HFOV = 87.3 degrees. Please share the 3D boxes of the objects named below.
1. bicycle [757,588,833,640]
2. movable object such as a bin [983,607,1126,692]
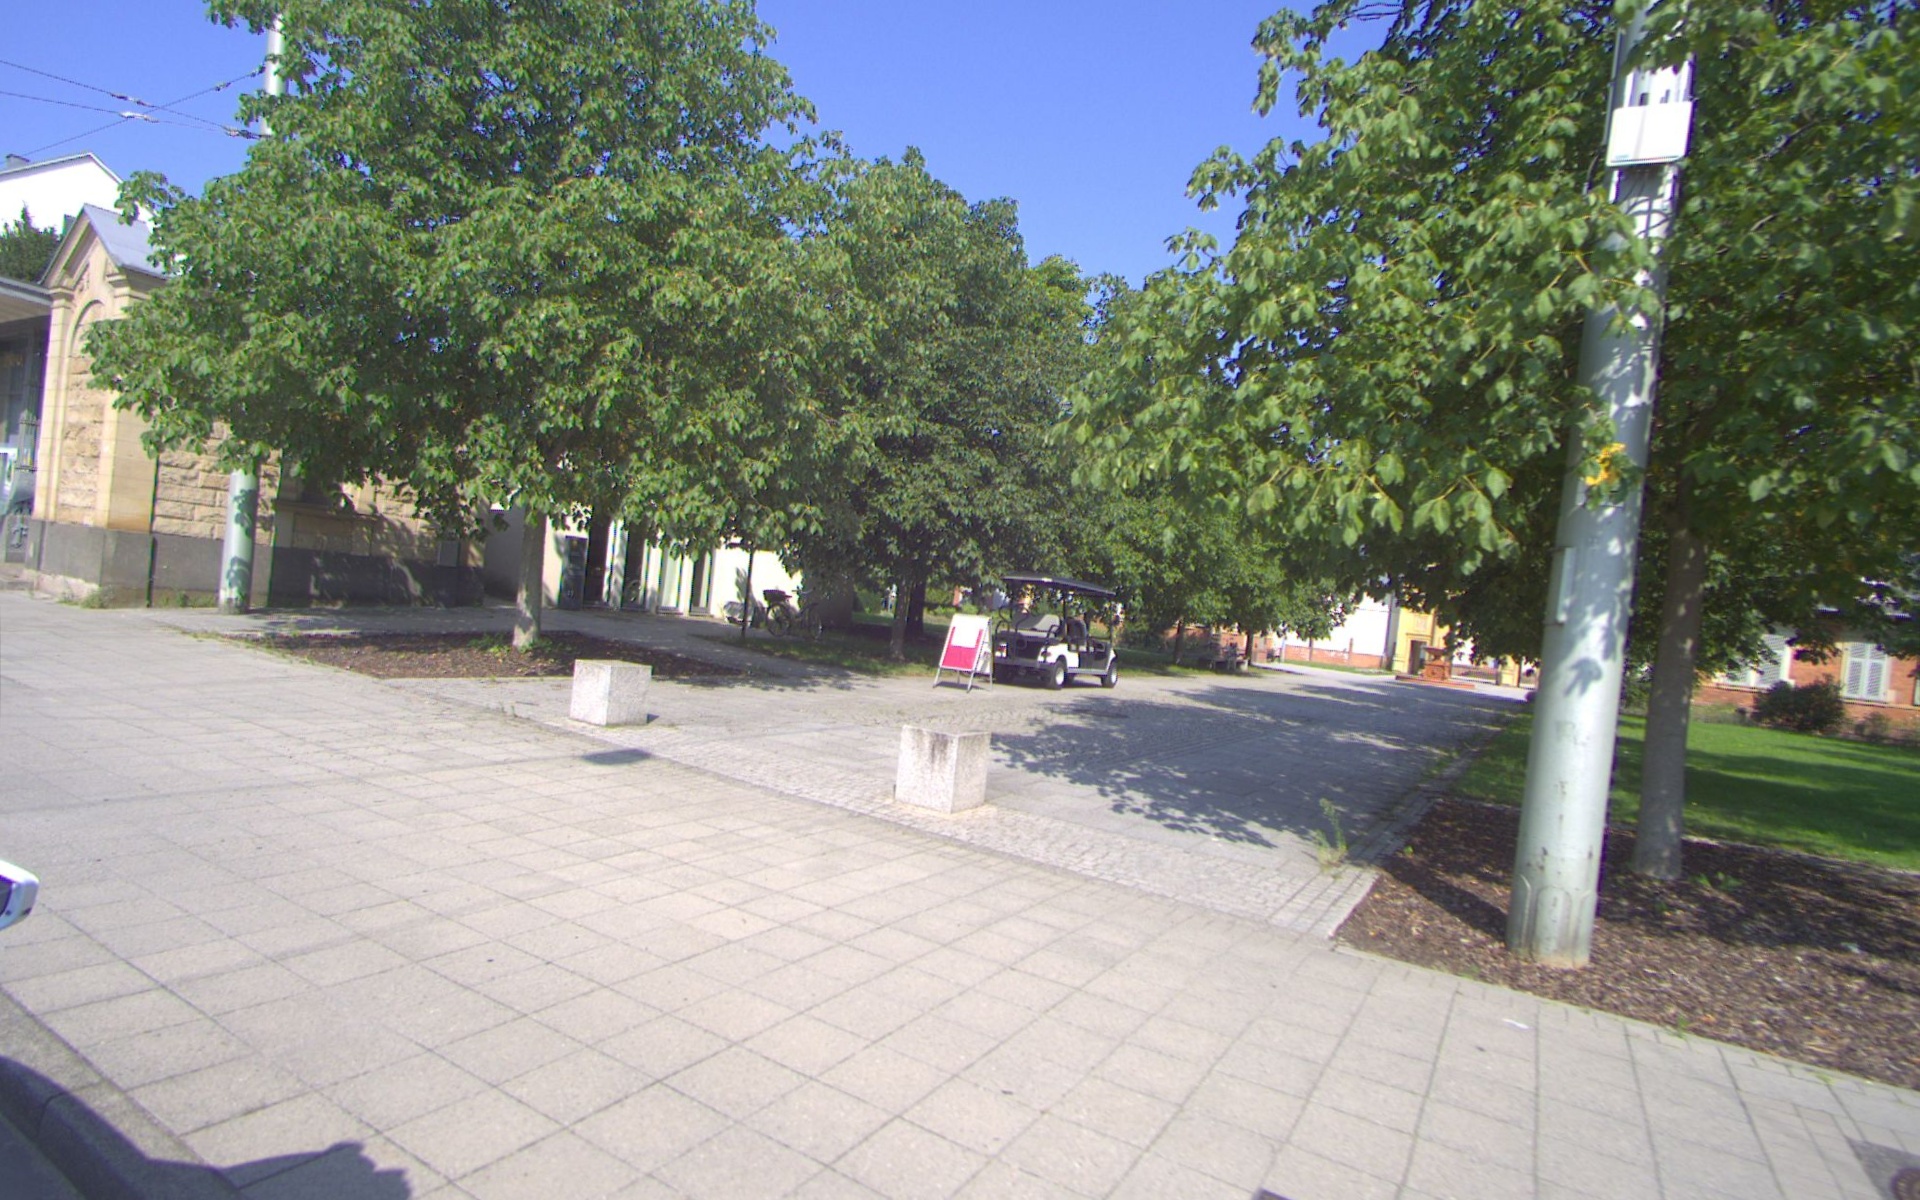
[{"bbox_3d":[-3.606,0.321,22.105,0.420,0.992,1.906,6,-1,32],"label":"bicycle"},{"bbox_3d":[1.809,0.921,18.516,1.279,1.314,3.109,6,0,31],"label":"movable object such as a bin"}]
